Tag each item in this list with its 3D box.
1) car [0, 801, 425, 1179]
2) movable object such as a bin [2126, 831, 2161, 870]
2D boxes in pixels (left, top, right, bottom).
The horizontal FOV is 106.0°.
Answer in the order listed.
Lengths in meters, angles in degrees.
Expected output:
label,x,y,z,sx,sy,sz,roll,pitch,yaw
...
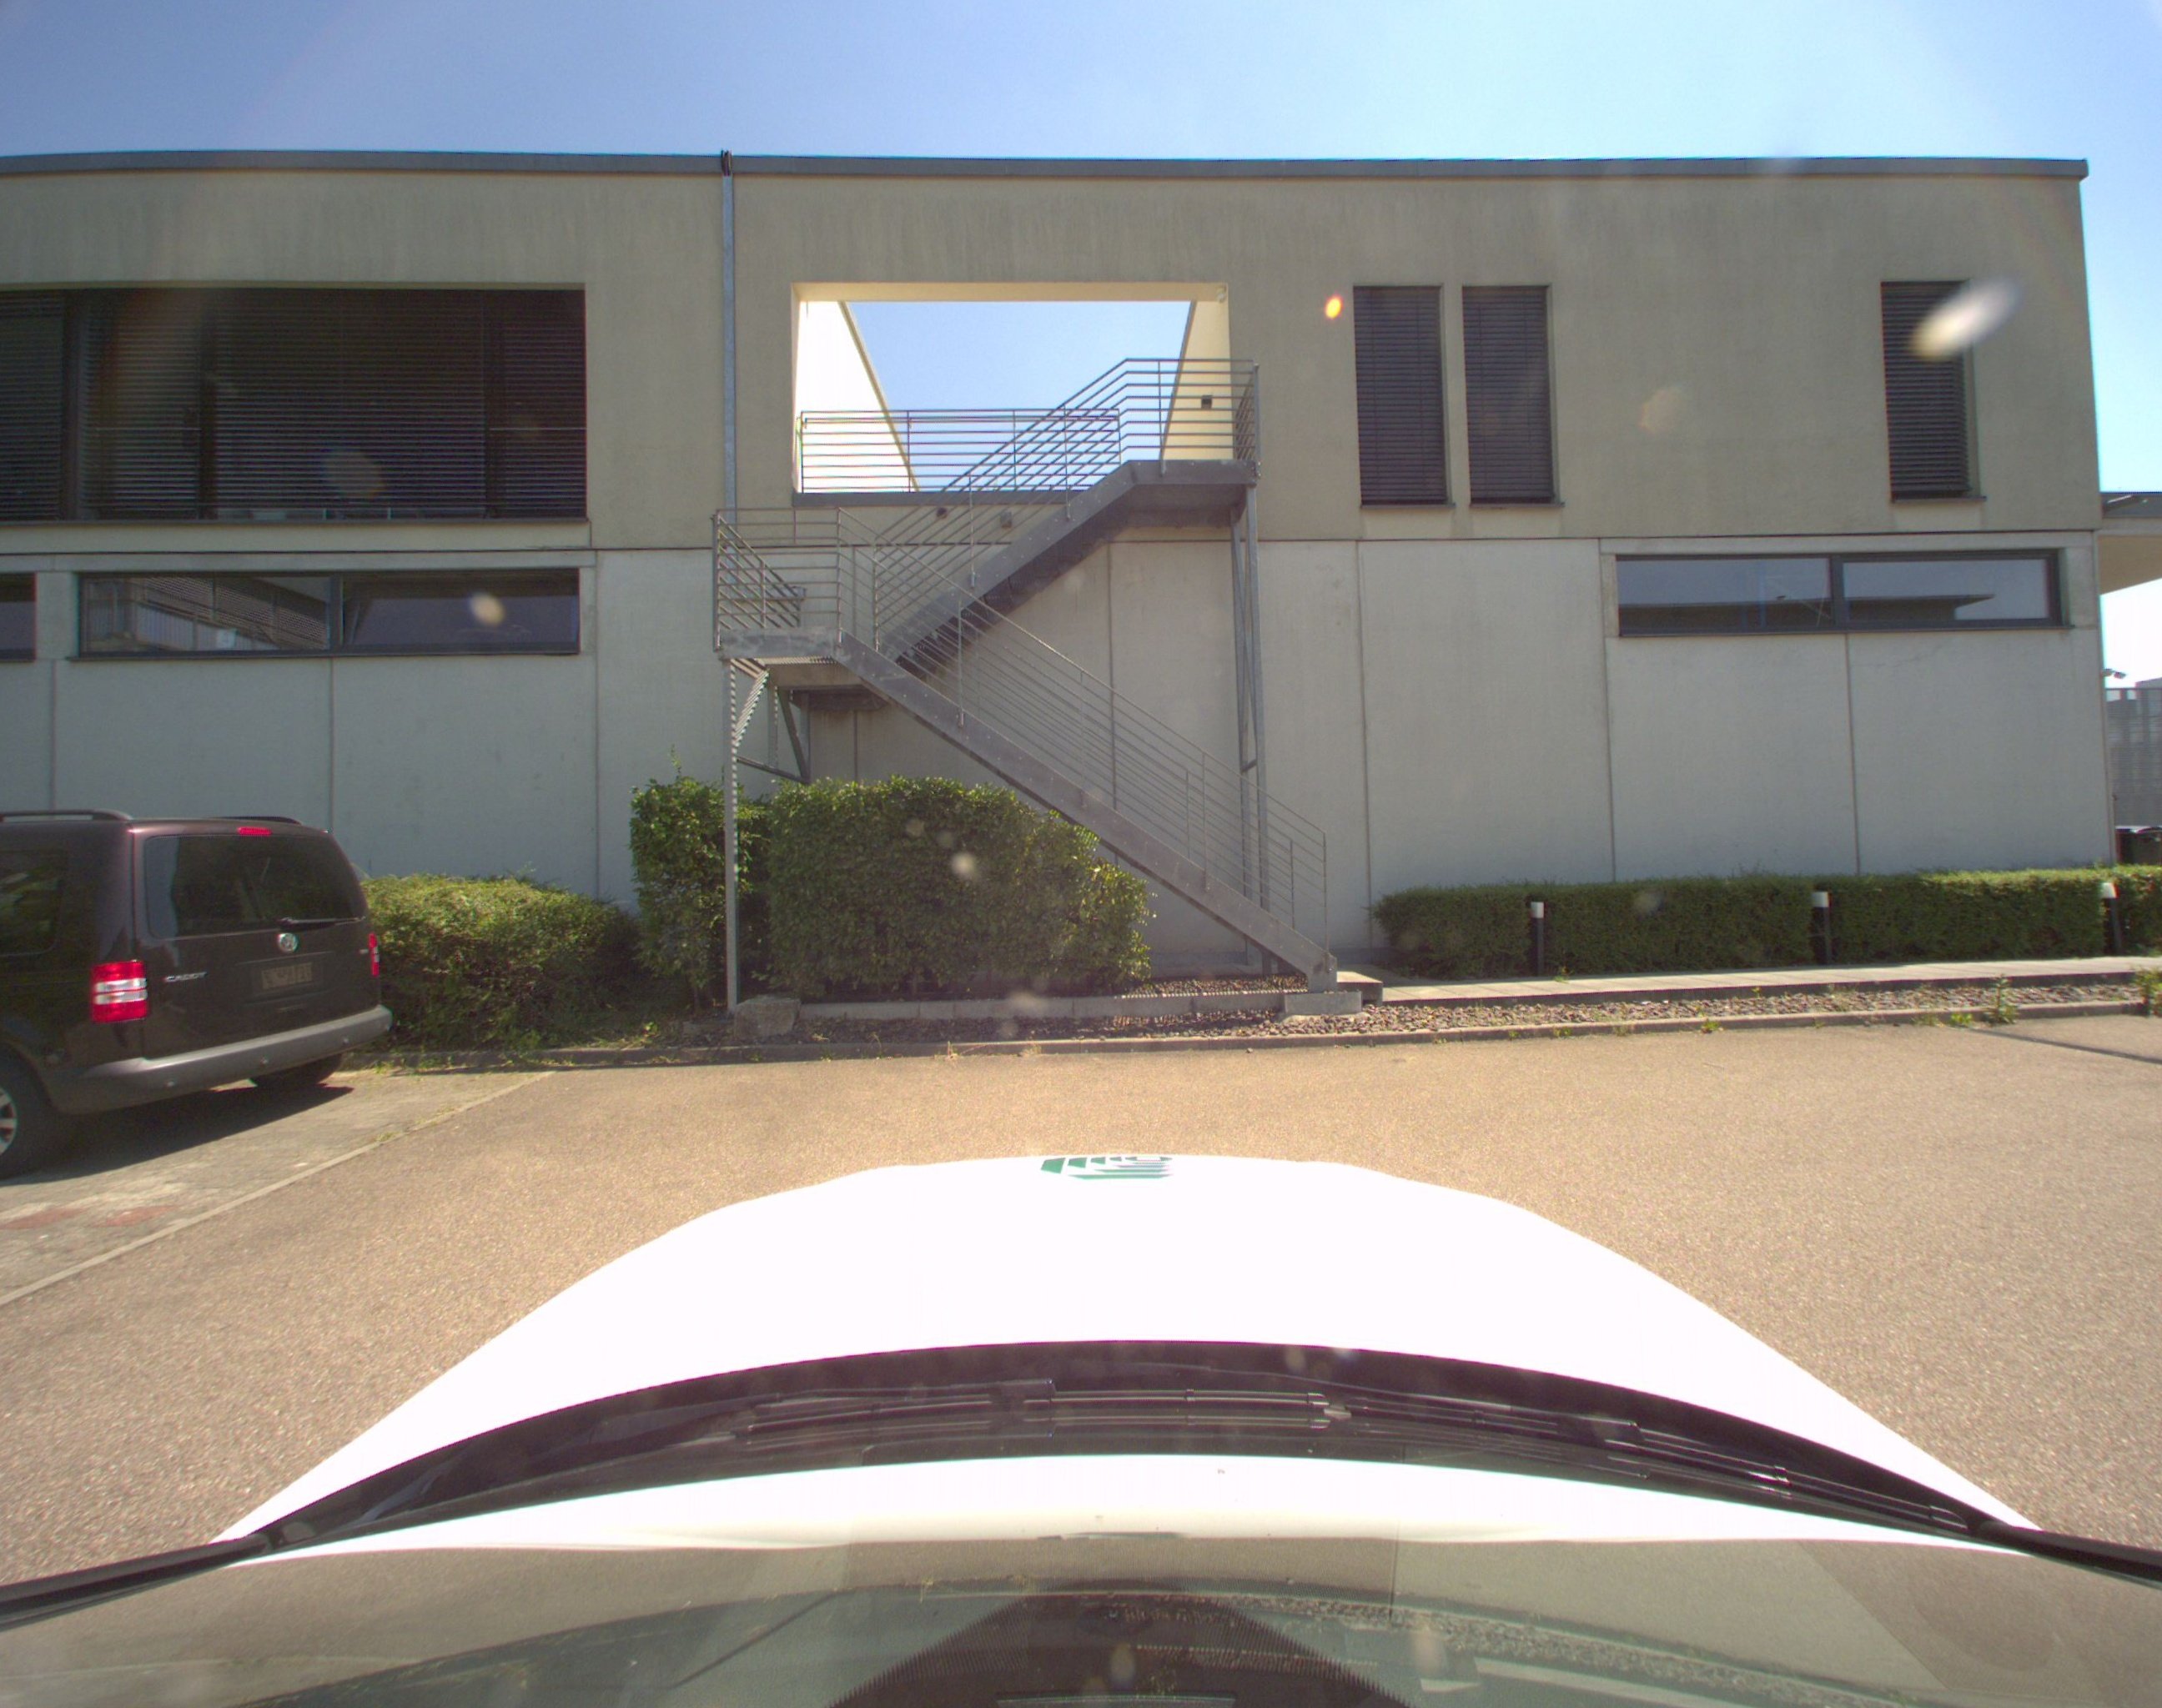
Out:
label,x,y,z,sx,sy,sz,roll,pitch,yaw
car,-6.701,0.722,4.914,4.046,1.884,1.678,-1,0,-1
movable object such as a bin,27.385,-0.100,20.621,0.805,0.980,0.817,-1,0,-2
